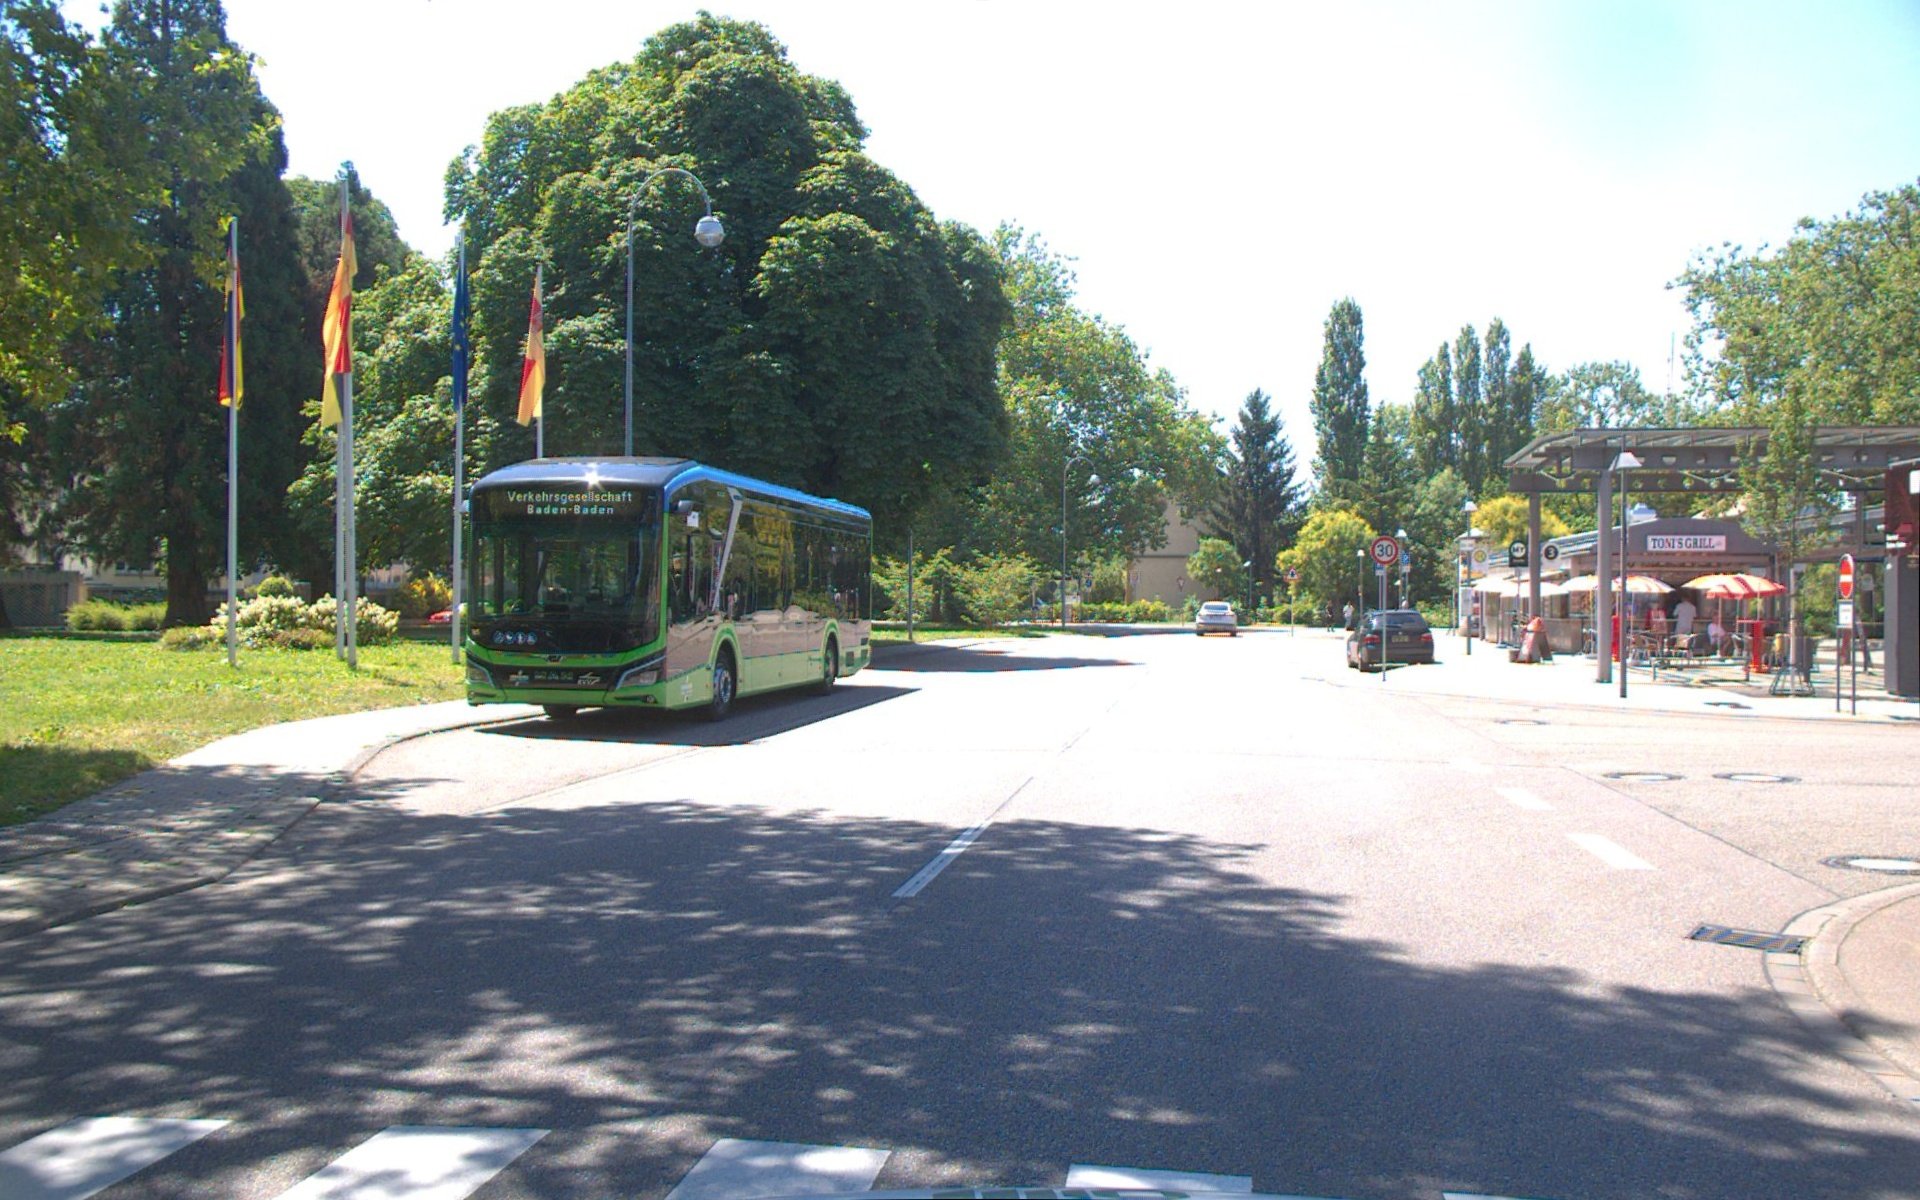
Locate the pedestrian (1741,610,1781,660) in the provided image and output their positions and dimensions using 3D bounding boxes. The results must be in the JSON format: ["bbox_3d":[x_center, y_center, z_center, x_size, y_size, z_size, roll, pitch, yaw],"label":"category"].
[{"bbox_3d":[19.342,0.831,39.958,0.671,1.181,0.895,0,0,13],"label":"pedestrian"}]

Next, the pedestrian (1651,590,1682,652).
[{"bbox_3d":[20.242,0.605,47.395,0.671,1.768,0.708,0,0,9],"label":"pedestrian"}]

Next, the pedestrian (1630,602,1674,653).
[{"bbox_3d":[18.521,0.737,44.267,0.881,1.335,0.683,1,0,-26],"label":"pedestrian"}]

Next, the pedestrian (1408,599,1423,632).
[{"bbox_3d":[27.720,0.942,100.624,0.836,2.000,0.806,0,0,20],"label":"pedestrian"}]

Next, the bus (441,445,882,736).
[{"bbox_3d":[-3.777,-0.133,25.323,2.749,3.340,12.435,0,0,9],"label":"bus"}]

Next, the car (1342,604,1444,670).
[{"bbox_3d":[10.820,0.893,41.634,1.886,1.486,4.729,-2,-1,8],"label":"car"}]

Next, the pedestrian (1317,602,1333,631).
[{"bbox_3d":[21.405,0.950,96.926,0.625,1.678,0.748,0,-2,37],"label":"pedestrian"}]

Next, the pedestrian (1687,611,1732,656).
[{"bbox_3d":[19.918,0.876,43.945,0.881,1.181,0.683,0,0,-26],"label":"pedestrian"}]

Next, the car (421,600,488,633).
[{"bbox_3d":[-30.706,1.035,100.611,1.831,1.870,4.001,2,-1,20],"label":"car"}]

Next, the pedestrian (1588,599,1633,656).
[{"bbox_3d":[16.873,0.710,42.914,0.882,1.442,0.682,1,0,-29],"label":"pedestrian"}]

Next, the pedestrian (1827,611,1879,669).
[{"bbox_3d":[20.406,0.901,37.816,0.827,1.300,0.895,0,0,13],"label":"pedestrian"}]

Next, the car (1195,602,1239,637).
[{"bbox_3d":[12.570,0.920,80.675,1.940,1.655,4.782,0,0,11],"label":"car"}]

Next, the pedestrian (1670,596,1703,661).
[{"bbox_3d":[20.152,0.794,45.912,0.671,1.768,0.708,1,-1,9],"label":"pedestrian"}]

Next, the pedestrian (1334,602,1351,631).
[{"bbox_3d":[22.786,0.981,98.448,0.708,1.678,0.748,0,-2,37],"label":"pedestrian"}]

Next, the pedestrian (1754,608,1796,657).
[{"bbox_3d":[21.392,0.847,43.422,0.743,1.226,0.738,2,-1,9],"label":"pedestrian"}]

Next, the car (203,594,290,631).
[{"bbox_3d":[-36.911,0.670,85.646,1.831,1.782,4.001,2,-1,20],"label":"car"}]
